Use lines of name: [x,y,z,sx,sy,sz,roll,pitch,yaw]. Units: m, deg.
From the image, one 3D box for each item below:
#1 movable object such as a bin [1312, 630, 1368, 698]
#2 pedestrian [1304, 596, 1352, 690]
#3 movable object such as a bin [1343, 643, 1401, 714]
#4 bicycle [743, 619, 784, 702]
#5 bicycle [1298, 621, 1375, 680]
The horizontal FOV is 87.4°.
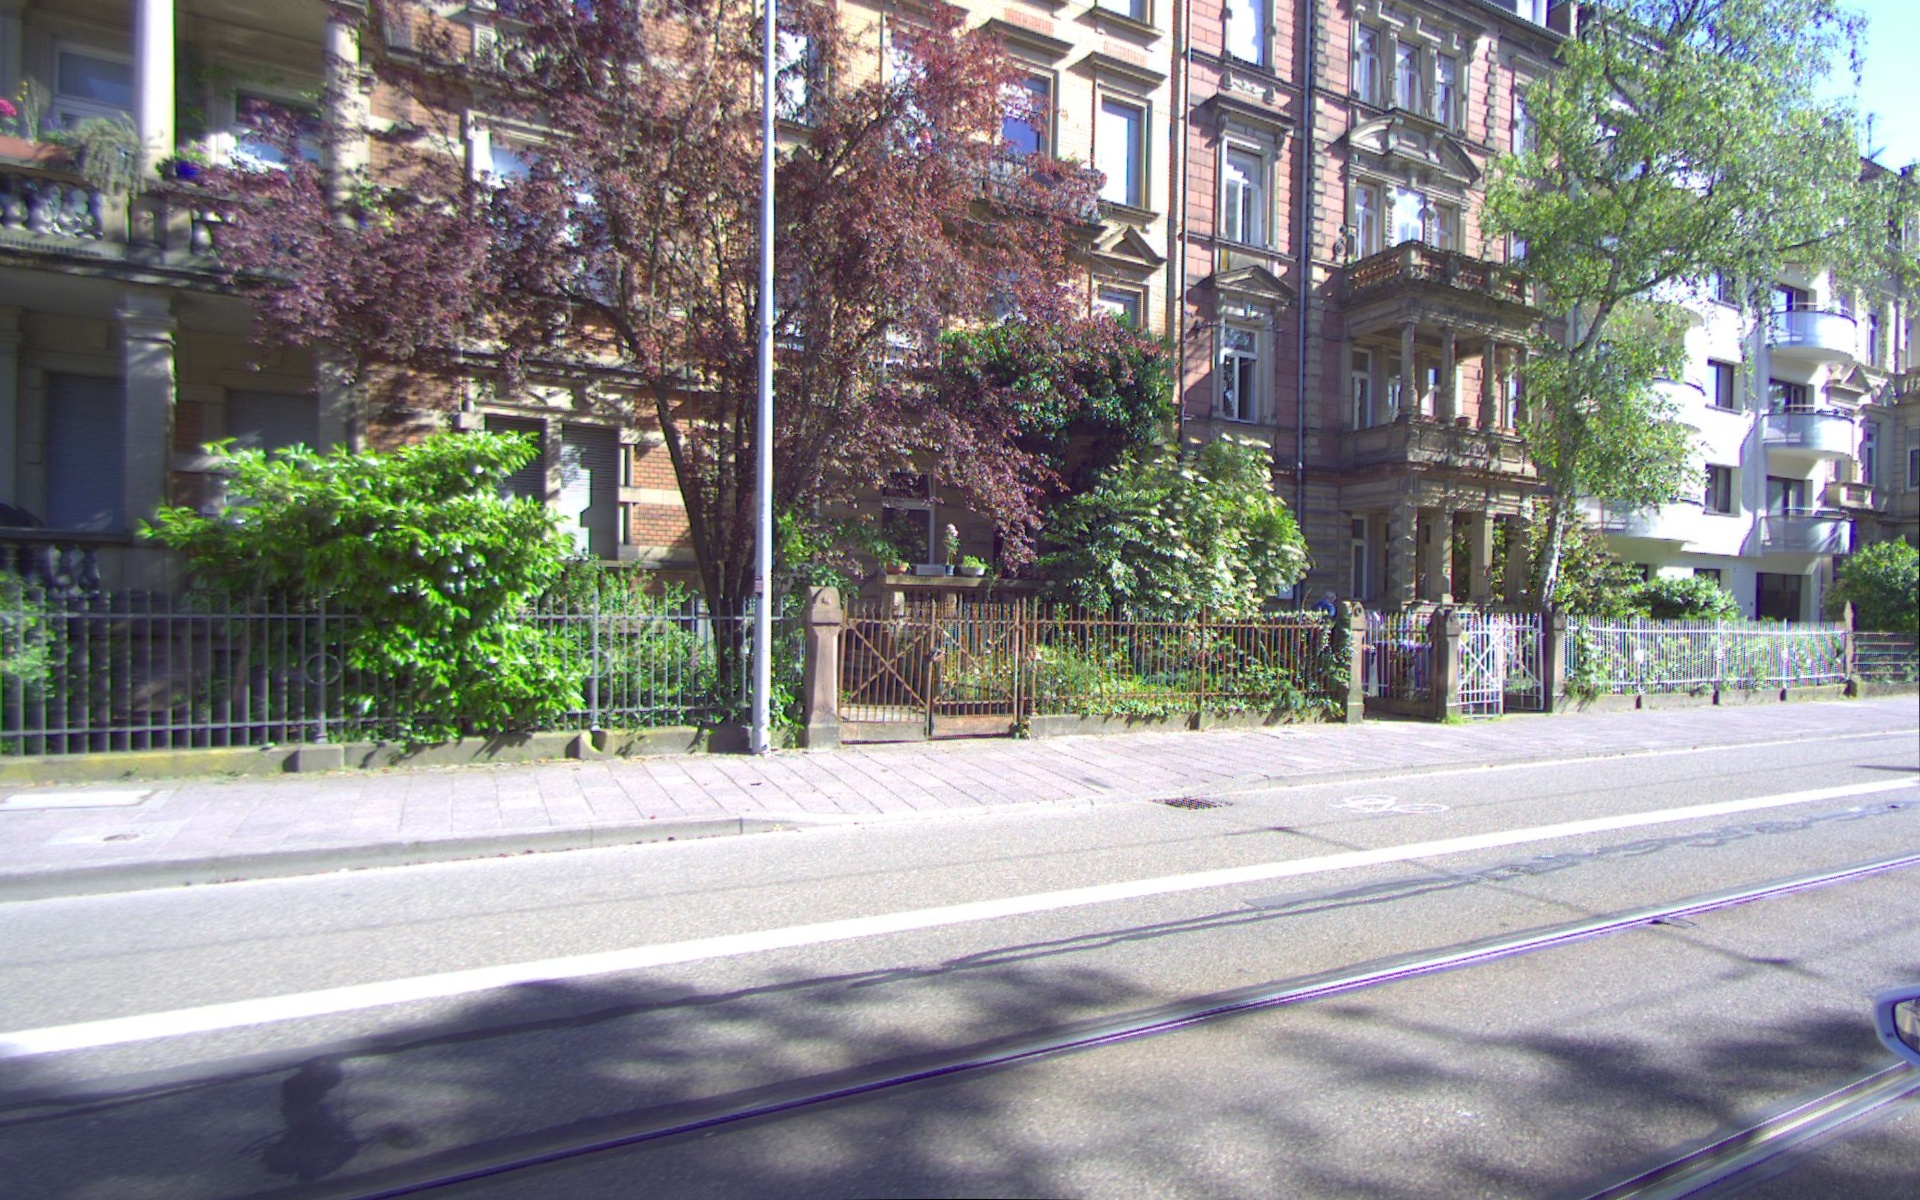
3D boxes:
movable object such as a bin: [6.286,1.046,16.627,0.611,1.068,0.582,1,1,-28]
pedestrian: [6.799,0.790,18.550,0.599,1.696,0.511,1,1,-28]
movable object such as a bin: [6.583,1.245,16.061,0.611,1.068,0.582,1,1,-28]
bicycle: [-2.553,0.758,12.989,0.291,0.985,1.145,1,1,-22]
bicycle: [7.164,0.942,19.163,0.418,1.026,1.455,1,1,-26]
